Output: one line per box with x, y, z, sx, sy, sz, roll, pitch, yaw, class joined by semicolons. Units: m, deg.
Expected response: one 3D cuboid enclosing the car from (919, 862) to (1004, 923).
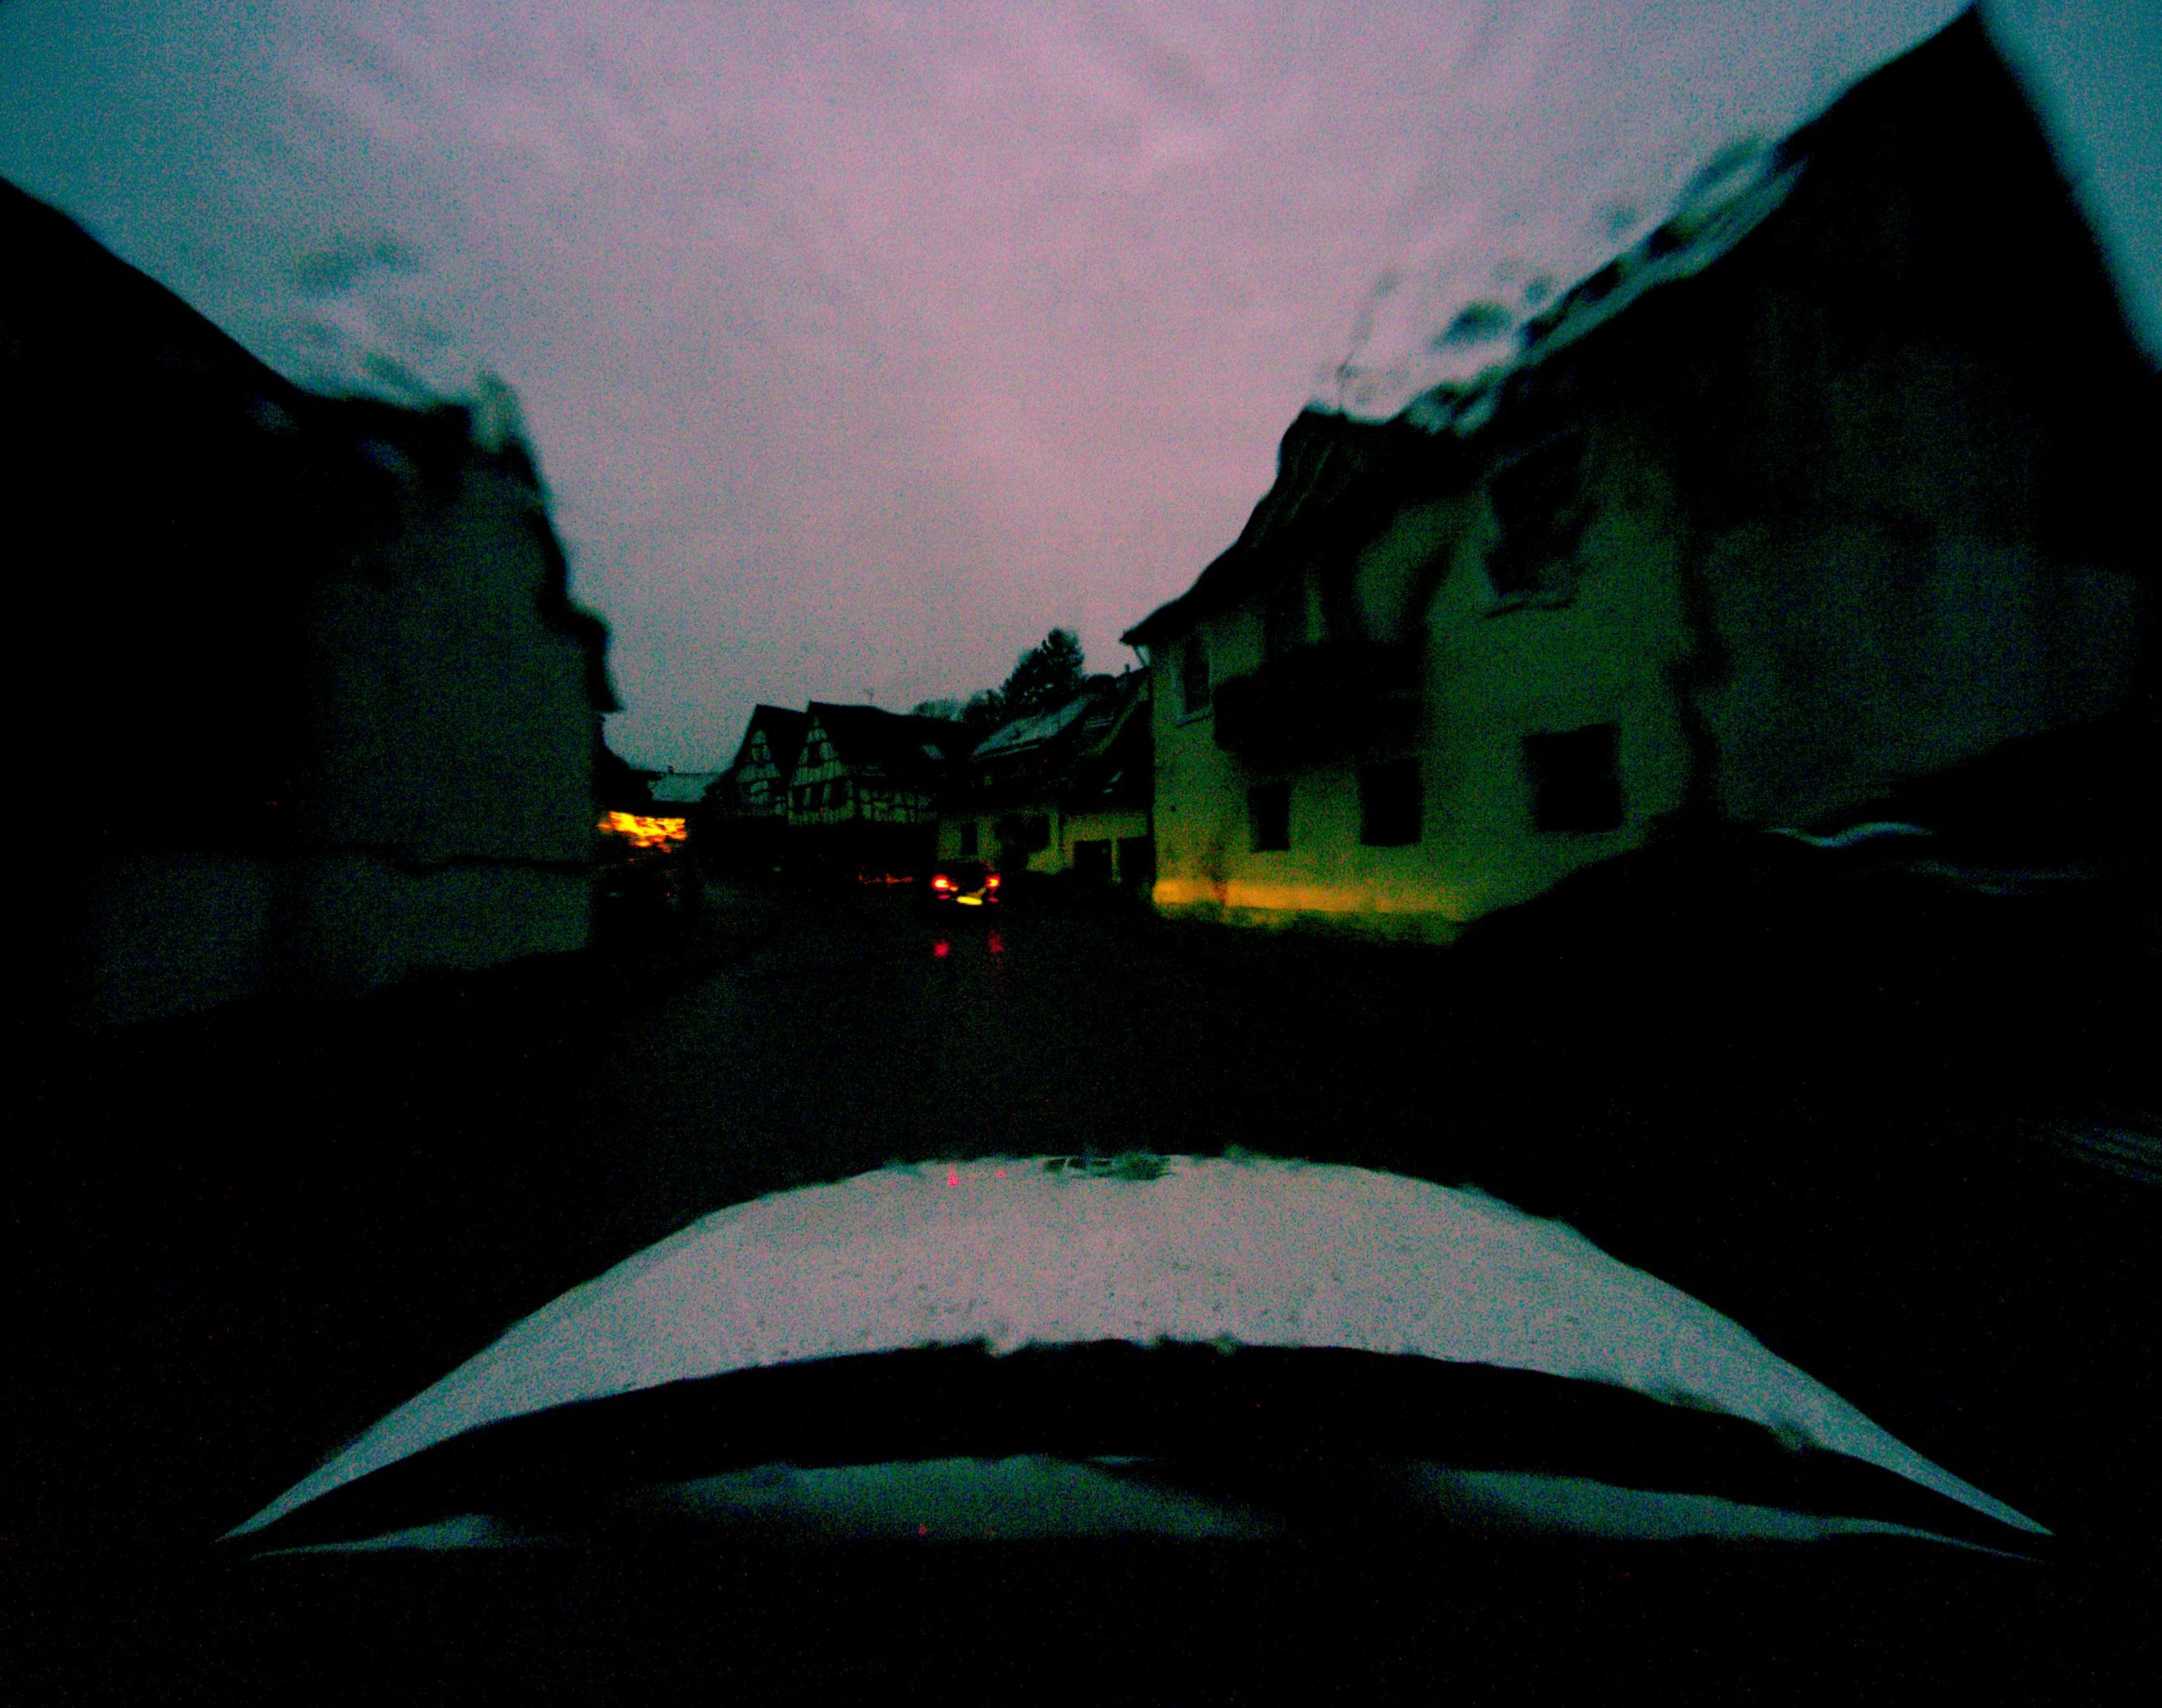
-3.256;0.967;21.683;1.551;1.466;3.674;1;-1;-19;car

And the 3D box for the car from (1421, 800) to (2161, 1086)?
5.106;0.517;6.649;1.814;1.487;4.247;-3;-1;-21;car

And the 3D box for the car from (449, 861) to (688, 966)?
-7.928;0.860;13.066;1.616;1.421;3.797;1;-1;-5;car

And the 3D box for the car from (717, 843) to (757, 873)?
-21.234;0.207;50.215;1.604;1.515;3.944;-3;5;-33;car
